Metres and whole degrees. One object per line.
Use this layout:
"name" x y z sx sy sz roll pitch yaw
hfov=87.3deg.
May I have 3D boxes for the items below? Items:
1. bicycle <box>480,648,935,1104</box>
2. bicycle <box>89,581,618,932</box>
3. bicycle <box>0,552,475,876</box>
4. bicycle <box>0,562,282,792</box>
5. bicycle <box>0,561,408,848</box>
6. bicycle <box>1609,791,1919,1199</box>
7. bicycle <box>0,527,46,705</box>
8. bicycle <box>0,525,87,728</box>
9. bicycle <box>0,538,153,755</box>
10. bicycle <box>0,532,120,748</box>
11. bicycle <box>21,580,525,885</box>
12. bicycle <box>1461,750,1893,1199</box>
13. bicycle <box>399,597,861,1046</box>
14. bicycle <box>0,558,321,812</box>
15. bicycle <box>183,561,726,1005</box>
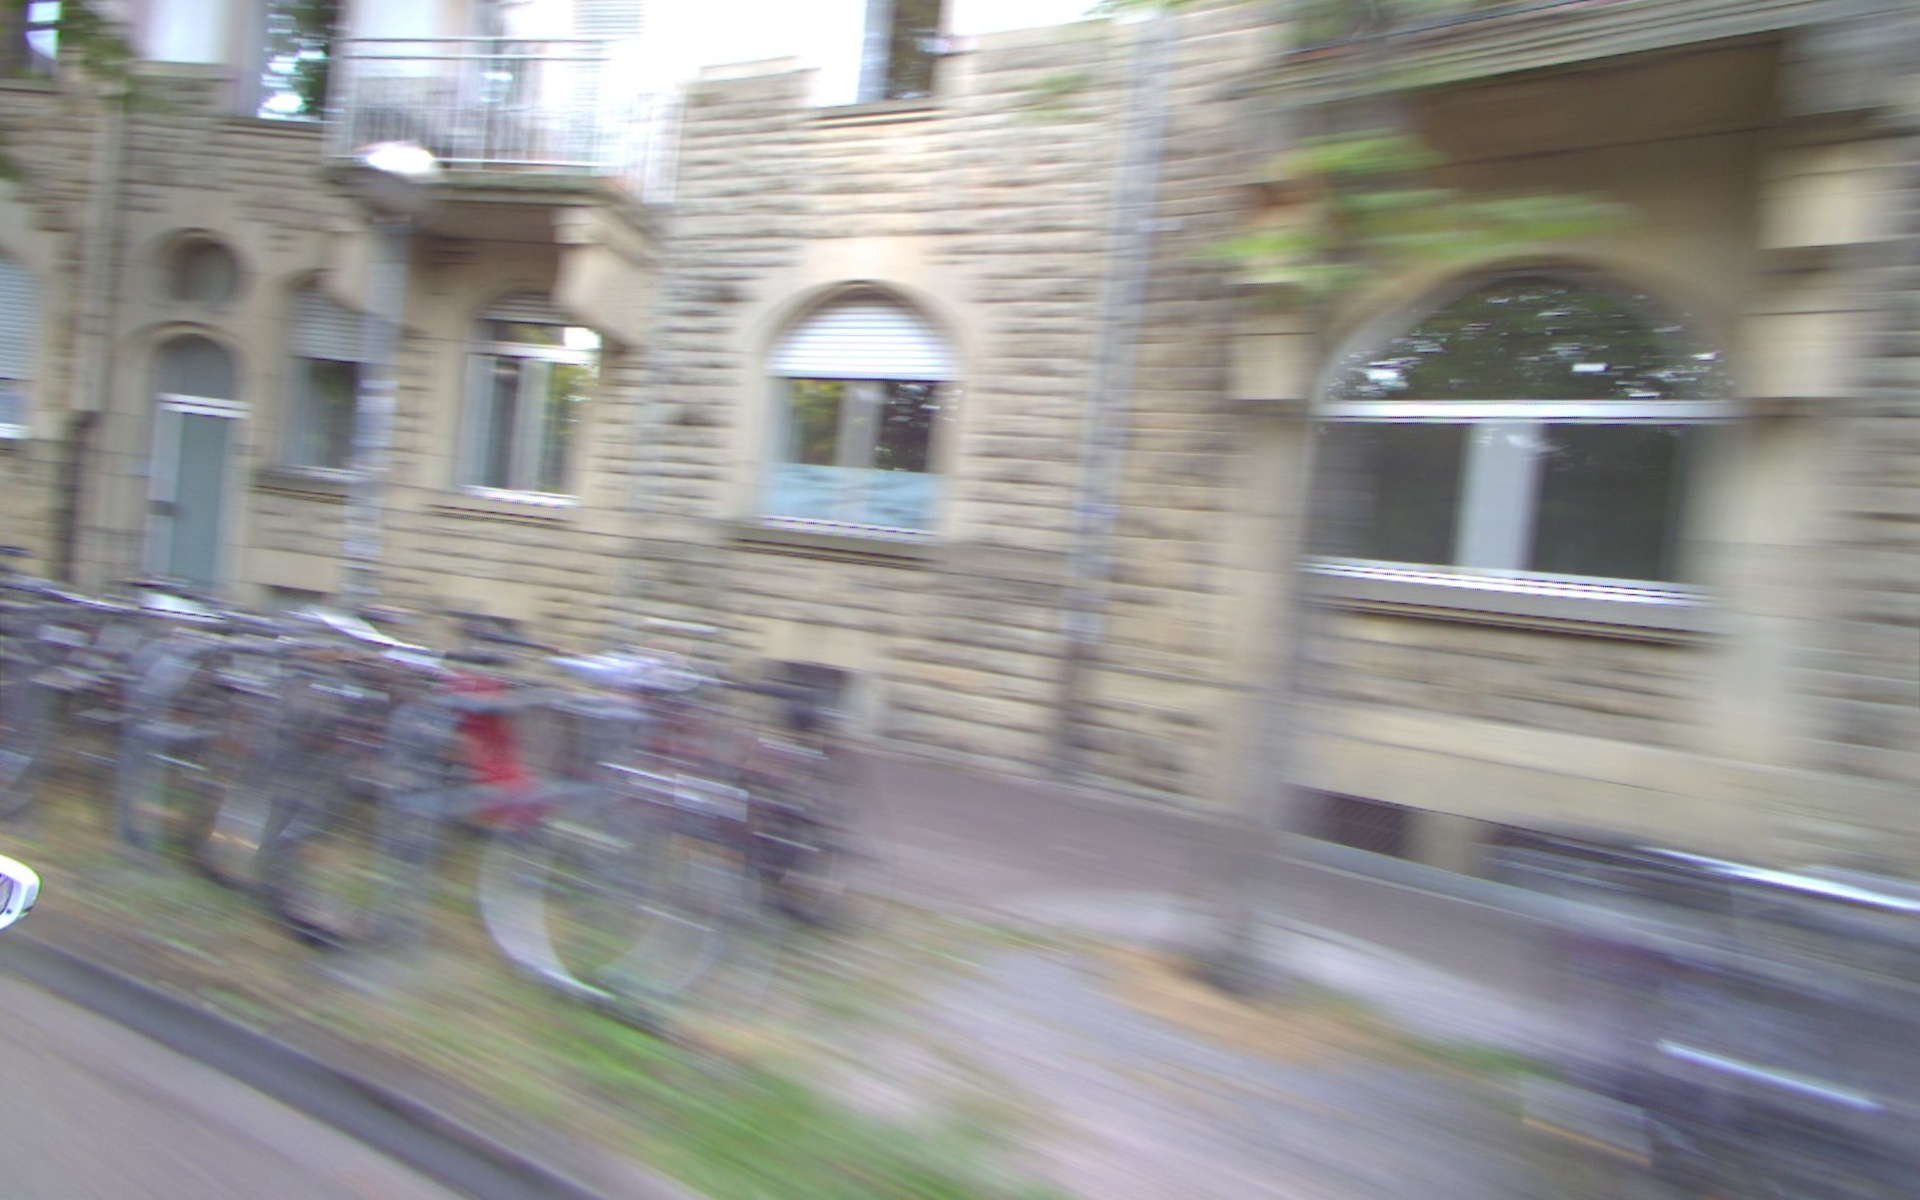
"bicycle" -0.693 0.736 3.424 0.439 1.077 1.795 7 1 22
"bicycle" -2.340 0.533 4.227 0.542 1.078 1.920 7 1 19
"bicycle" -3.143 0.438 4.520 0.411 1.131 1.854 7 1 22
"bicycle" -4.380 0.350 4.901 0.411 1.012 1.855 7 1 18
"bicycle" -3.642 0.420 4.713 0.525 1.074 1.920 7 1 19
"bicycle" 1.722 1.053 1.986 0.411 1.077 1.605 7 1 25
"bicycle" -6.296 0.094 5.708 0.563 1.118 1.853 6 1 -5
"bicycle" -5.876 0.130 5.345 0.411 1.159 1.855 7 1 18
"bicycle" -5.274 0.250 5.069 0.412 1.101 1.855 -12 -5 17
"bicycle" -5.533 0.216 5.144 0.412 1.140 1.855 -12 -5 17
"bicycle" -2.838 0.495 4.437 0.411 1.027 1.854 7 1 22
"bicycle" 1.473 0.996 2.318 0.411 1.089 1.605 7 1 25
"bicycle" -1.026 0.636 3.640 0.439 1.183 1.795 7 1 22
"bicycle" -4.107 0.372 4.817 0.411 1.065 1.855 7 1 18
"bicycle" -1.715 0.547 3.838 0.542 1.215 1.920 7 1 19
